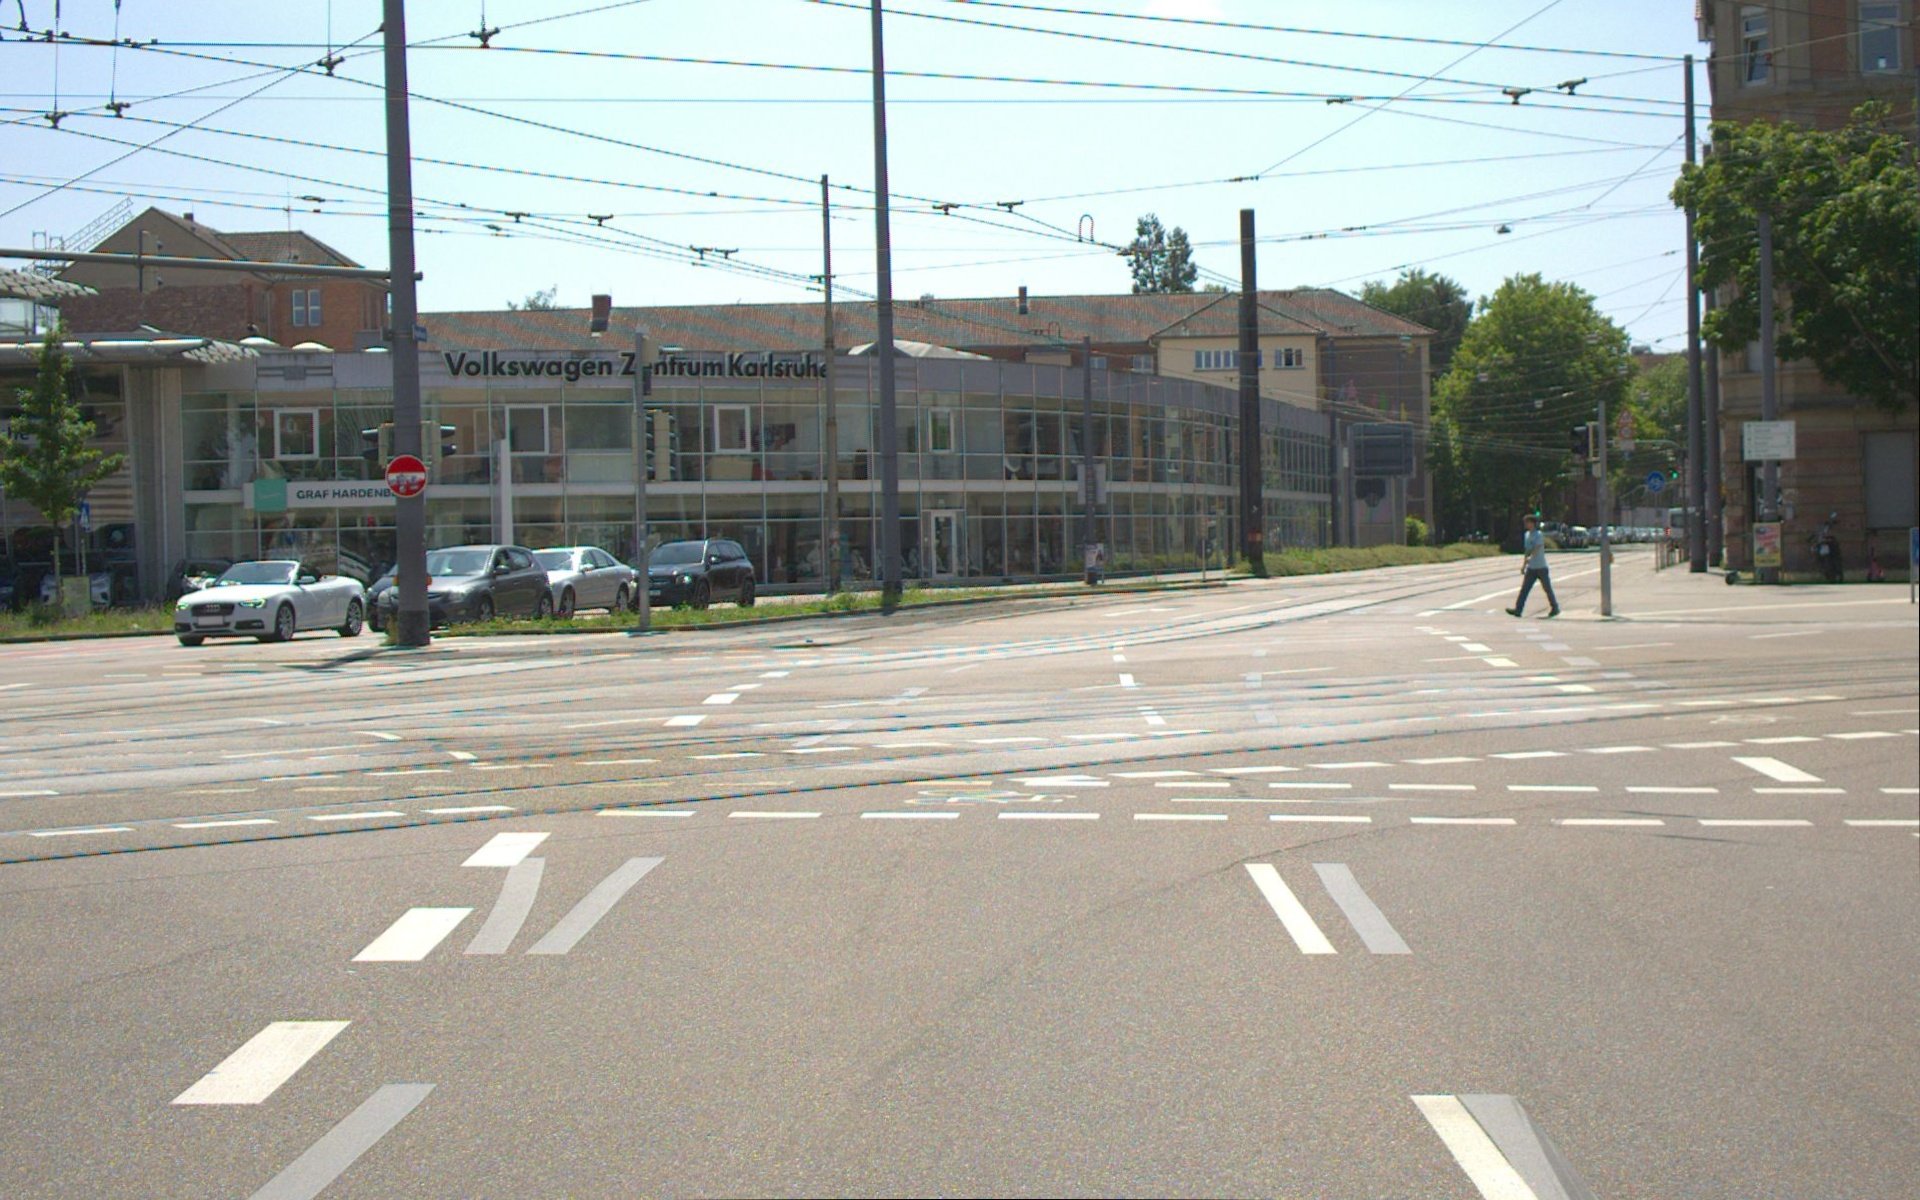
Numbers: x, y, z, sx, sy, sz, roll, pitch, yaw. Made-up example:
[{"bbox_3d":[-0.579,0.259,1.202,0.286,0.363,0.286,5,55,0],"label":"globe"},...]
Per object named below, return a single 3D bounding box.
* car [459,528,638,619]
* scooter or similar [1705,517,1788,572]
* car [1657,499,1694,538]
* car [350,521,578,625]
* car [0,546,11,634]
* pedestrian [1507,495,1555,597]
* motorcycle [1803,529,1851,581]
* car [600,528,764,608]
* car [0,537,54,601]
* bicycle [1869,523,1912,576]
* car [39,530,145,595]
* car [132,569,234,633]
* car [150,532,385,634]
[{"bbox_3d":[-8.298,-0.555,69.739,1.995,1.733,4.540,-1,1,16],"label":"car"},{"bbox_3d":[17.353,-1.225,75.829,1.786,1.177,0.599,-2,1,-26],"label":"scooter or similar"},{"bbox_3d":[41.807,-4.749,200.779,1.995,2.173,4.366,1,0,13],"label":"car"},{"bbox_3d":[-8.289,-0.488,57.965,1.995,1.632,4.843,-1,1,16],"label":"car"},{"bbox_3d":[-17.369,-0.104,55.348,1.994,1.460,4.844,-1,1,12],"label":"car"},{"bbox_3d":[9.610,-0.905,57.836,0.461,1.702,0.640,-2,1,-30],"label":"pedestrian"},{"bbox_3d":[18.386,-0.961,72.927,0.580,1.071,1.946,-1,1,2],"label":"motorcycle"},{"bbox_3d":[-6.147,-0.738,76.636,2.080,1.677,4.843,-1,1,16],"label":"car"},{"bbox_3d":[-26.022,-0.830,93.215,1.920,1.701,4.000,1,0,-1],"label":"car"},{"bbox_3d":[19.729,-1.077,72.882,0.551,1.116,1.820,-1,1,5],"label":"bicycle"},{"bbox_3d":[-23.576,-0.996,93.522,1.920,1.701,4.000,1,0,-1],"label":"car"},{"bbox_3d":[-21.128,0.019,93.617,1.920,1.701,4.000,1,0,-1],"label":"car"},{"bbox_3d":[-11.530,-0.314,57.596,2.077,1.574,4.844,-1,1,12],"label":"car"}]
